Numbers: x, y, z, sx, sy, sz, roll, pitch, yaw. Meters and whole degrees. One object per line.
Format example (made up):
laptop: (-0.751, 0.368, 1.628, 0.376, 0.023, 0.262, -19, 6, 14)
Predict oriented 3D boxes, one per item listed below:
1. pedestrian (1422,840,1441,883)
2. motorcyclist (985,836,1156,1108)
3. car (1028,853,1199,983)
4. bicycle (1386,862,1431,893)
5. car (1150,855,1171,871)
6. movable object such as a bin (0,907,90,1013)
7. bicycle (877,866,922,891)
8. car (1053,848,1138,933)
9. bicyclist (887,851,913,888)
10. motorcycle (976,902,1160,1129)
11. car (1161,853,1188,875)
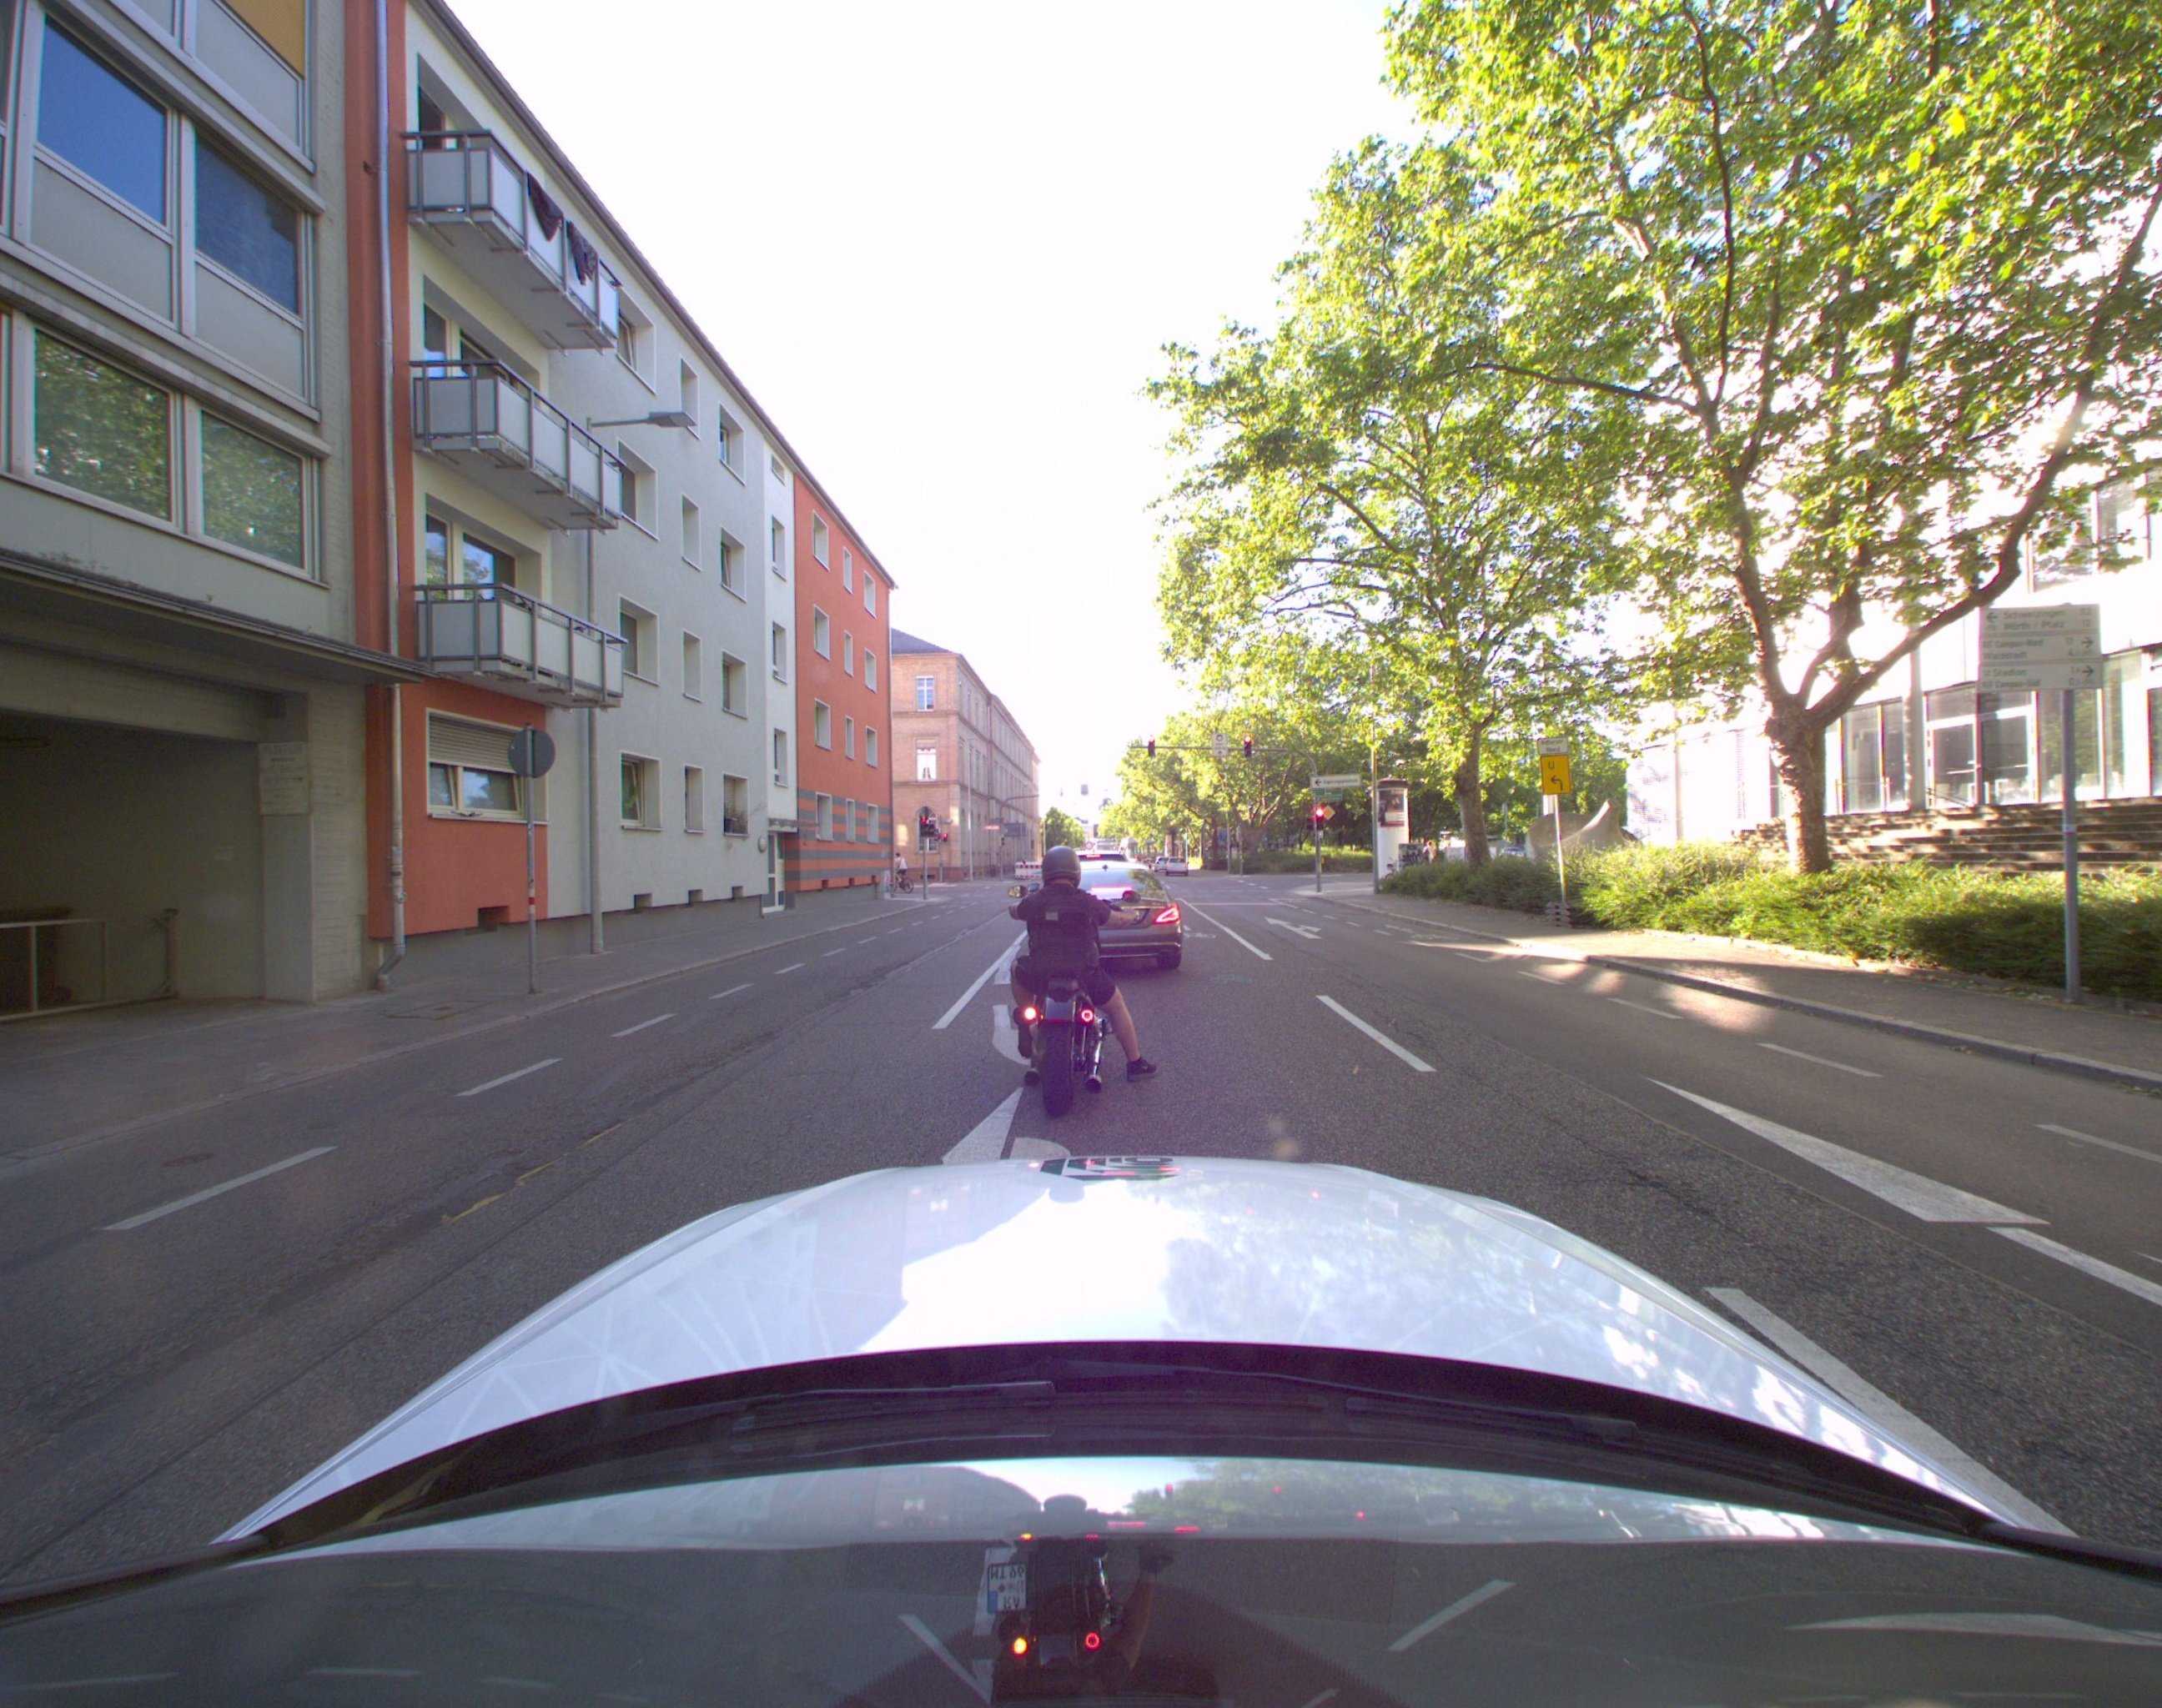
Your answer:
pedestrian: (15.284, 0.326, 35.529, 0.549, 1.849, 0.594, -1, 0, 3)
motorcyclist: (-0.040, 0.700, 5.540, 0.986, 1.597, 1.404, -1, 0, 2)
car: (0.253, 0.743, 11.731, 1.943, 1.473, 4.355, -1, 0, -5)
bicycle: (11.031, 0.794, 27.427, 1.346, 1.023, 0.363, -1, 0, 2)
car: (7.370, 0.848, 75.622, 1.848, 1.486, 3.912, 0, -1, 3)
movable object such as a bin: (-11.320, 1.113, 8.695, 0.593, 1.041, 0.703, 0, -1, 1)
bicycle: (-8.421, 1.147, 37.789, 1.861, 1.103, 0.707, -1, 0, 10)
car: (0.317, 0.707, 17.901, 1.606, 1.607, 4.329, -1, 0, 1)
bicyclist: (-8.397, 0.703, 37.798, 0.955, 1.692, 0.707, -1, 0, 11)
motorcycle: (-0.032, 0.959, 5.693, 0.986, 1.078, 2.453, -1, 0, 2)
car: (6.993, 0.740, 61.111, 1.813, 1.481, 3.912, -3, 0, 4)
